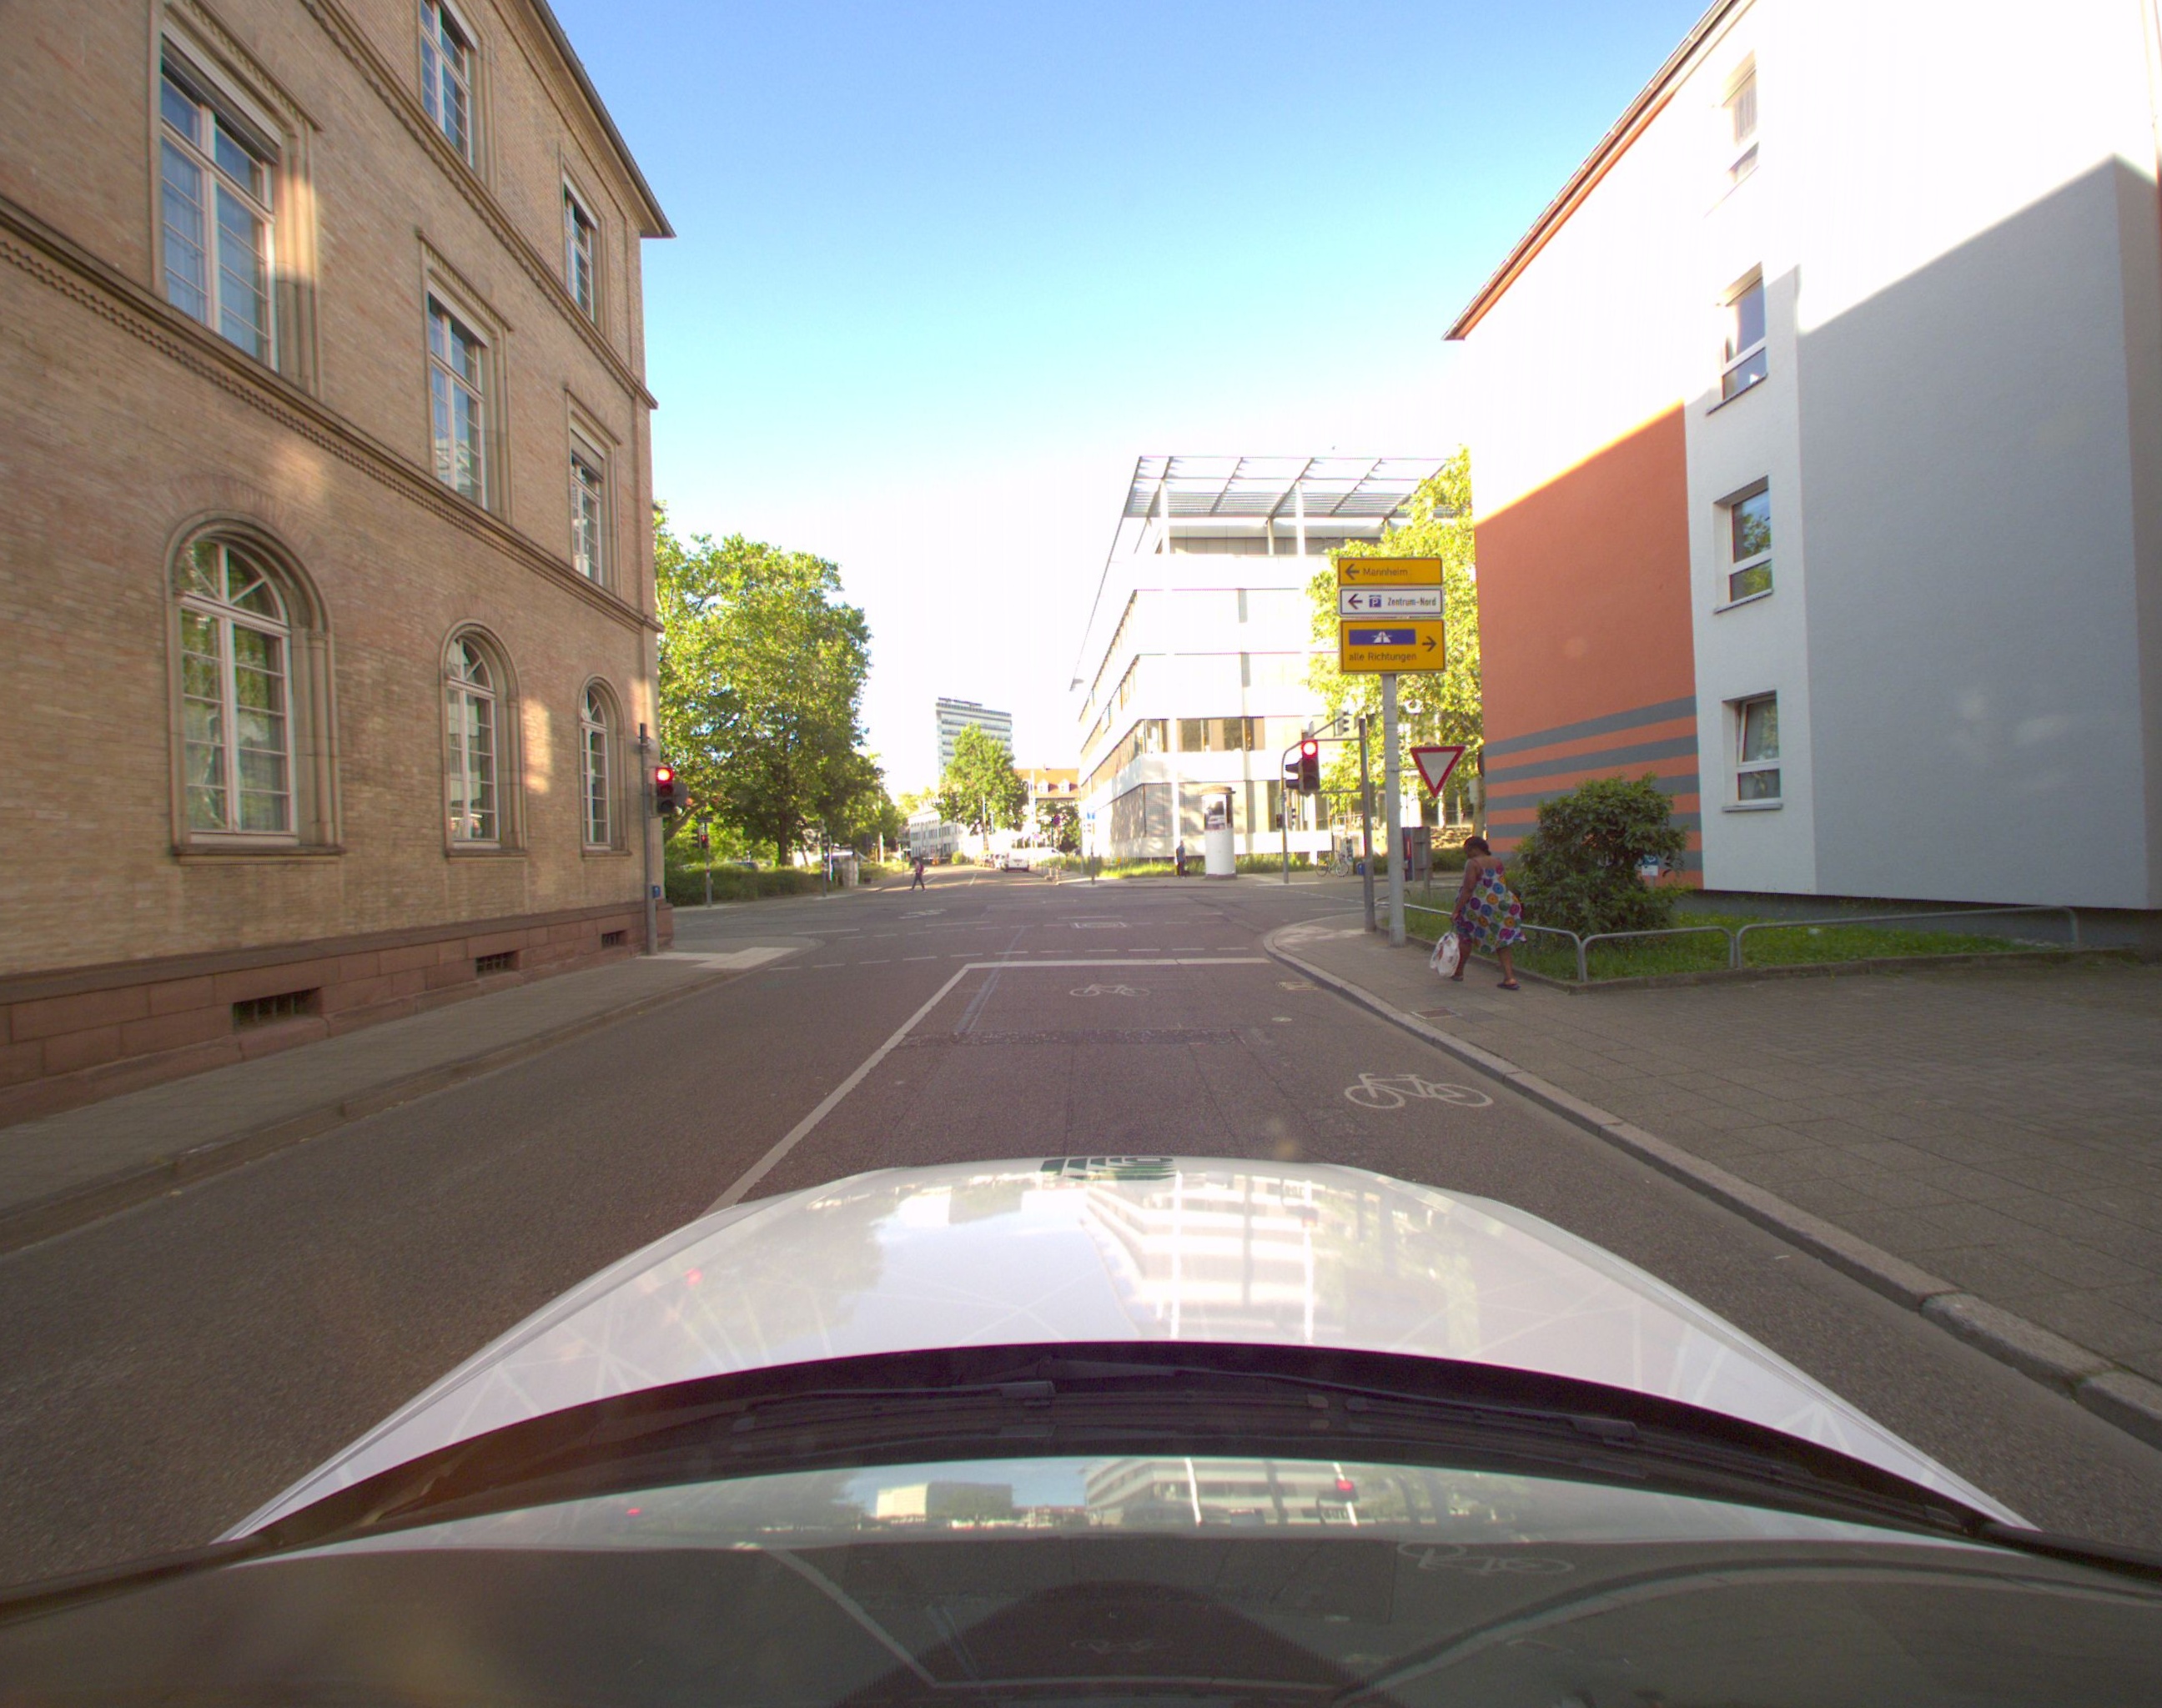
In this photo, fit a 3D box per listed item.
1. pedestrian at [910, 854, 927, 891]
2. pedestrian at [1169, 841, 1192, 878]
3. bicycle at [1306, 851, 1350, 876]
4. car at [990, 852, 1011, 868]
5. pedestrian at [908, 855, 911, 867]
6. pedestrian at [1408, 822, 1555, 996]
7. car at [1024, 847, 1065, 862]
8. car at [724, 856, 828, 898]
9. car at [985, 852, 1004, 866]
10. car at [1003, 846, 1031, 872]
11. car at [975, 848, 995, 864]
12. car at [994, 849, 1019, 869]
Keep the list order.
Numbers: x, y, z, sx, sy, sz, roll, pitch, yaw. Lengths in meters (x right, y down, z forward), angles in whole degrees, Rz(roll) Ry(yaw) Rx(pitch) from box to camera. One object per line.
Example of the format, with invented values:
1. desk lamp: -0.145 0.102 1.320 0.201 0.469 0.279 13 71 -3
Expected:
1. pedestrian: -7.278 0.827 36.480 0.712 1.599 0.615 -2 0 -13
2. pedestrian: 4.745 0.266 38.887 0.802 1.736 0.658 -2 0 45
3. bicycle: 10.899 0.435 36.007 0.467 1.049 1.893 -2 0 -40
4. car: -8.073 0.597 81.563 1.705 1.424 4.221 -2 0 -11
5. pedestrian: -22.389 0.932 106.326 0.380 1.534 0.444 -2 0 -10
6. pedestrian: 4.007 0.525 8.197 0.954 1.573 0.747 -5 0 -11
7. car: -4.620 0.058 103.152 4.889 1.872 1.990 -1 -1 -15
8. car: -14.403 1.059 38.650 4.219 1.777 1.901 -2 0 -7
9. car: -9.202 0.514 86.255 1.704 1.464 4.225 -2 0 -9
10. car: -5.132 0.386 64.946 2.065 1.963 4.228 -2 0 -7
11. car: -11.320 0.235 96.136 2.100 1.658 4.461 -2 0 -9
12. car: -7.035 0.463 76.558 1.947 1.795 4.223 -2 0 -11
